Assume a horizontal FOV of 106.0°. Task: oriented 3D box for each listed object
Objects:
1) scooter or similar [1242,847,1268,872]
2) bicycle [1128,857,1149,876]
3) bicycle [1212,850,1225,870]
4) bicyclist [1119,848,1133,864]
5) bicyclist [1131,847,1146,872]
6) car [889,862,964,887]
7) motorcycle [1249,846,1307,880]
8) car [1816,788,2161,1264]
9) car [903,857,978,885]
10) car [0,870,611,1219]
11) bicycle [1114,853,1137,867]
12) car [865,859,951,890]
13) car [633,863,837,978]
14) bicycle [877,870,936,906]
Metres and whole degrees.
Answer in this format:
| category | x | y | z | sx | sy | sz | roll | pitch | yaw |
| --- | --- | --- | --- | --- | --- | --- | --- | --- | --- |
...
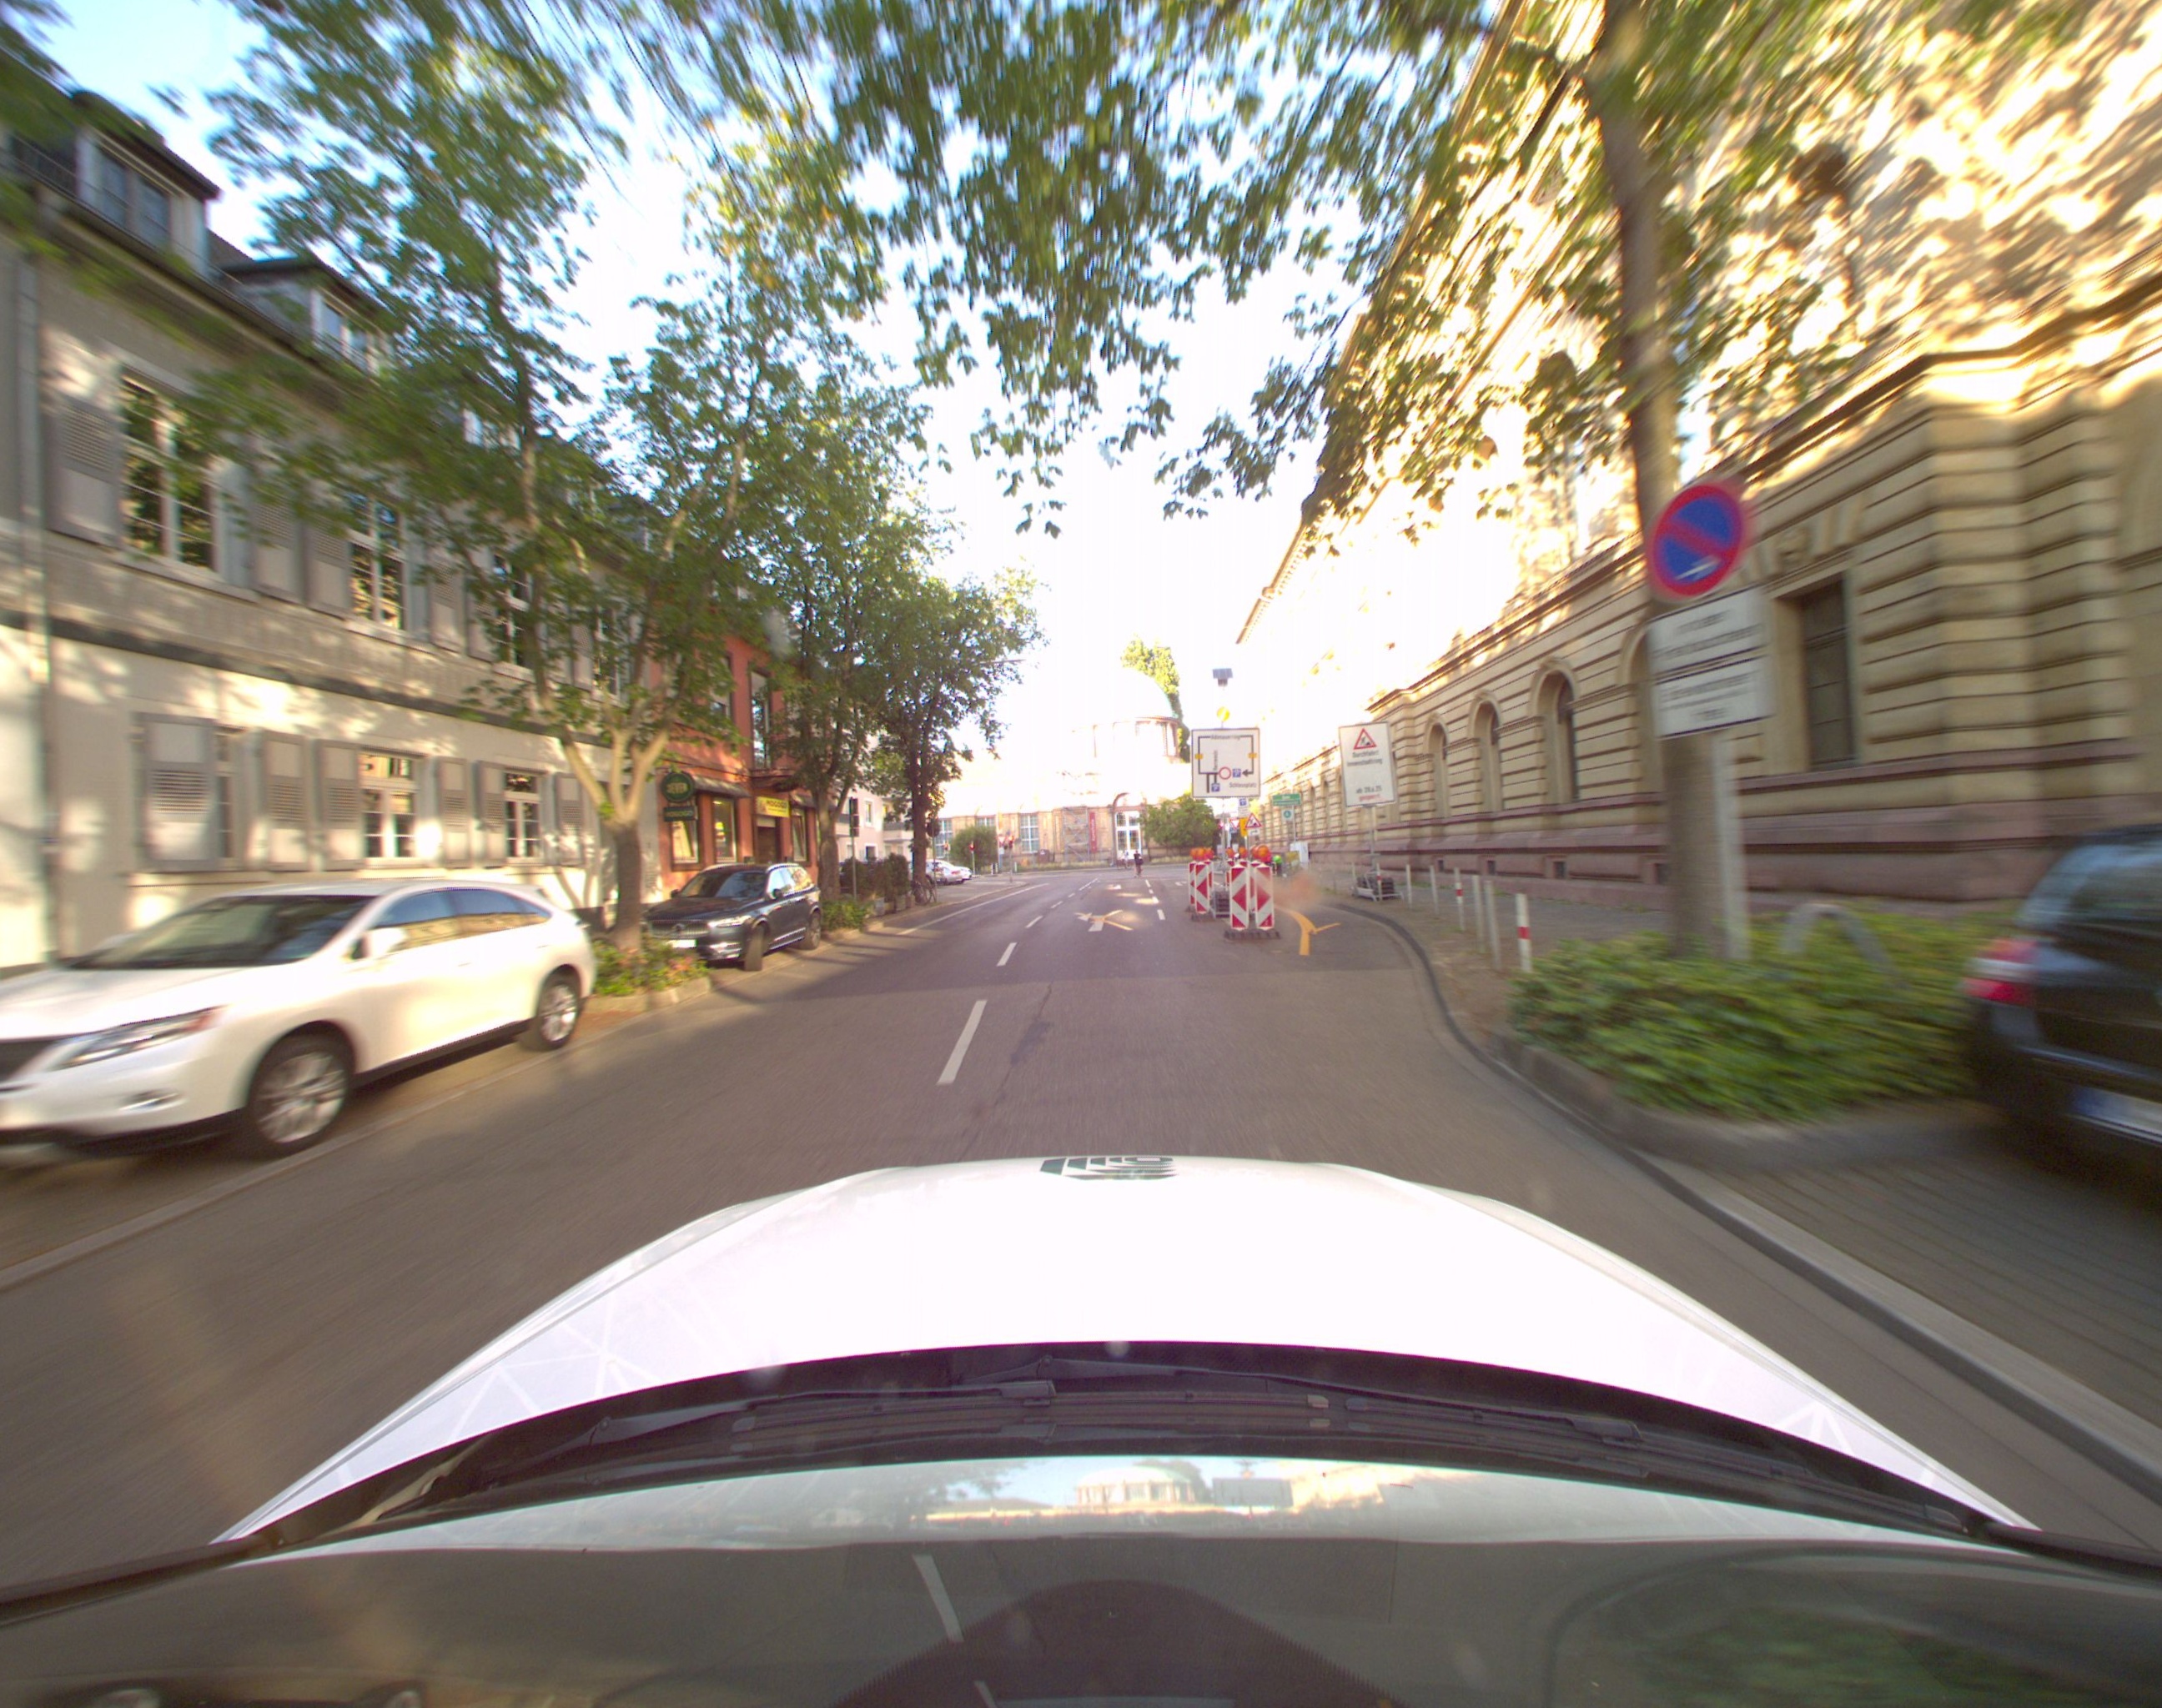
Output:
| category | x | y | z | sx | sy | sz | roll | pitch | yaw |
| --- | --- | --- | --- | --- | --- | --- | --- | --- | --- |
| scooter or similar | 9.199 | 0.284 | 43.096 | 1.120 | 1.195 | 0.587 | -6 | -1 | 21 |
| bicycle | 3.615 | 0.790 | 51.038 | 0.706 | 1.156 | 2.078 | -4 | -2 | 18 |
| bicycle | 8.869 | 0.399 | 52.587 | 0.579 | 1.188 | 1.922 | -3 | -2 | 4 |
| bicyclist | 3.978 | 0.180 | 72.053 | 0.933 | 1.364 | 0.620 | -2 | -2 | -37 |
| bicyclist | 3.612 | 0.360 | 51.098 | 0.710 | 1.502 | 0.854 | -4 | -2 | 18 |
| car | -9.550 | 1.271 | 50.607 | 4.250 | 1.380 | 1.737 | -2 | 0 | 2 |
| motorcycle | 7.998 | 0.370 | 33.055 | 2.077 | 1.215 | 0.715 | -6 | -1 | 33 |
| car | 5.545 | 0.364 | 2.791 | 4.344 | 1.464 | 1.833 | -6 | -1 | -1 |
| car | -9.154 | 1.118 | 53.327 | 4.423 | 1.641 | 1.943 | -2 | 0 | 2 |
| car | -5.884 | 1.001 | 6.386 | 1.823 | 1.668 | 4.652 | 1 | 0 | -3 |
| bicycle | 3.947 | 0.536 | 72.001 | 2.062 | 1.156 | 0.620 | -2 | -2 | -37 |
| car | -9.761 | 1.153 | 46.201 | 4.401 | 1.605 | 1.917 | -2 | 0 | 2 |
| car | -6.150 | 1.066 | 15.236 | 1.823 | 1.759 | 5.043 | 1 | 0 | -3 |
| bicycle | -6.084 | 1.178 | 28.425 | 1.862 | 1.104 | 0.610 | -3 | 0 | -3 |
